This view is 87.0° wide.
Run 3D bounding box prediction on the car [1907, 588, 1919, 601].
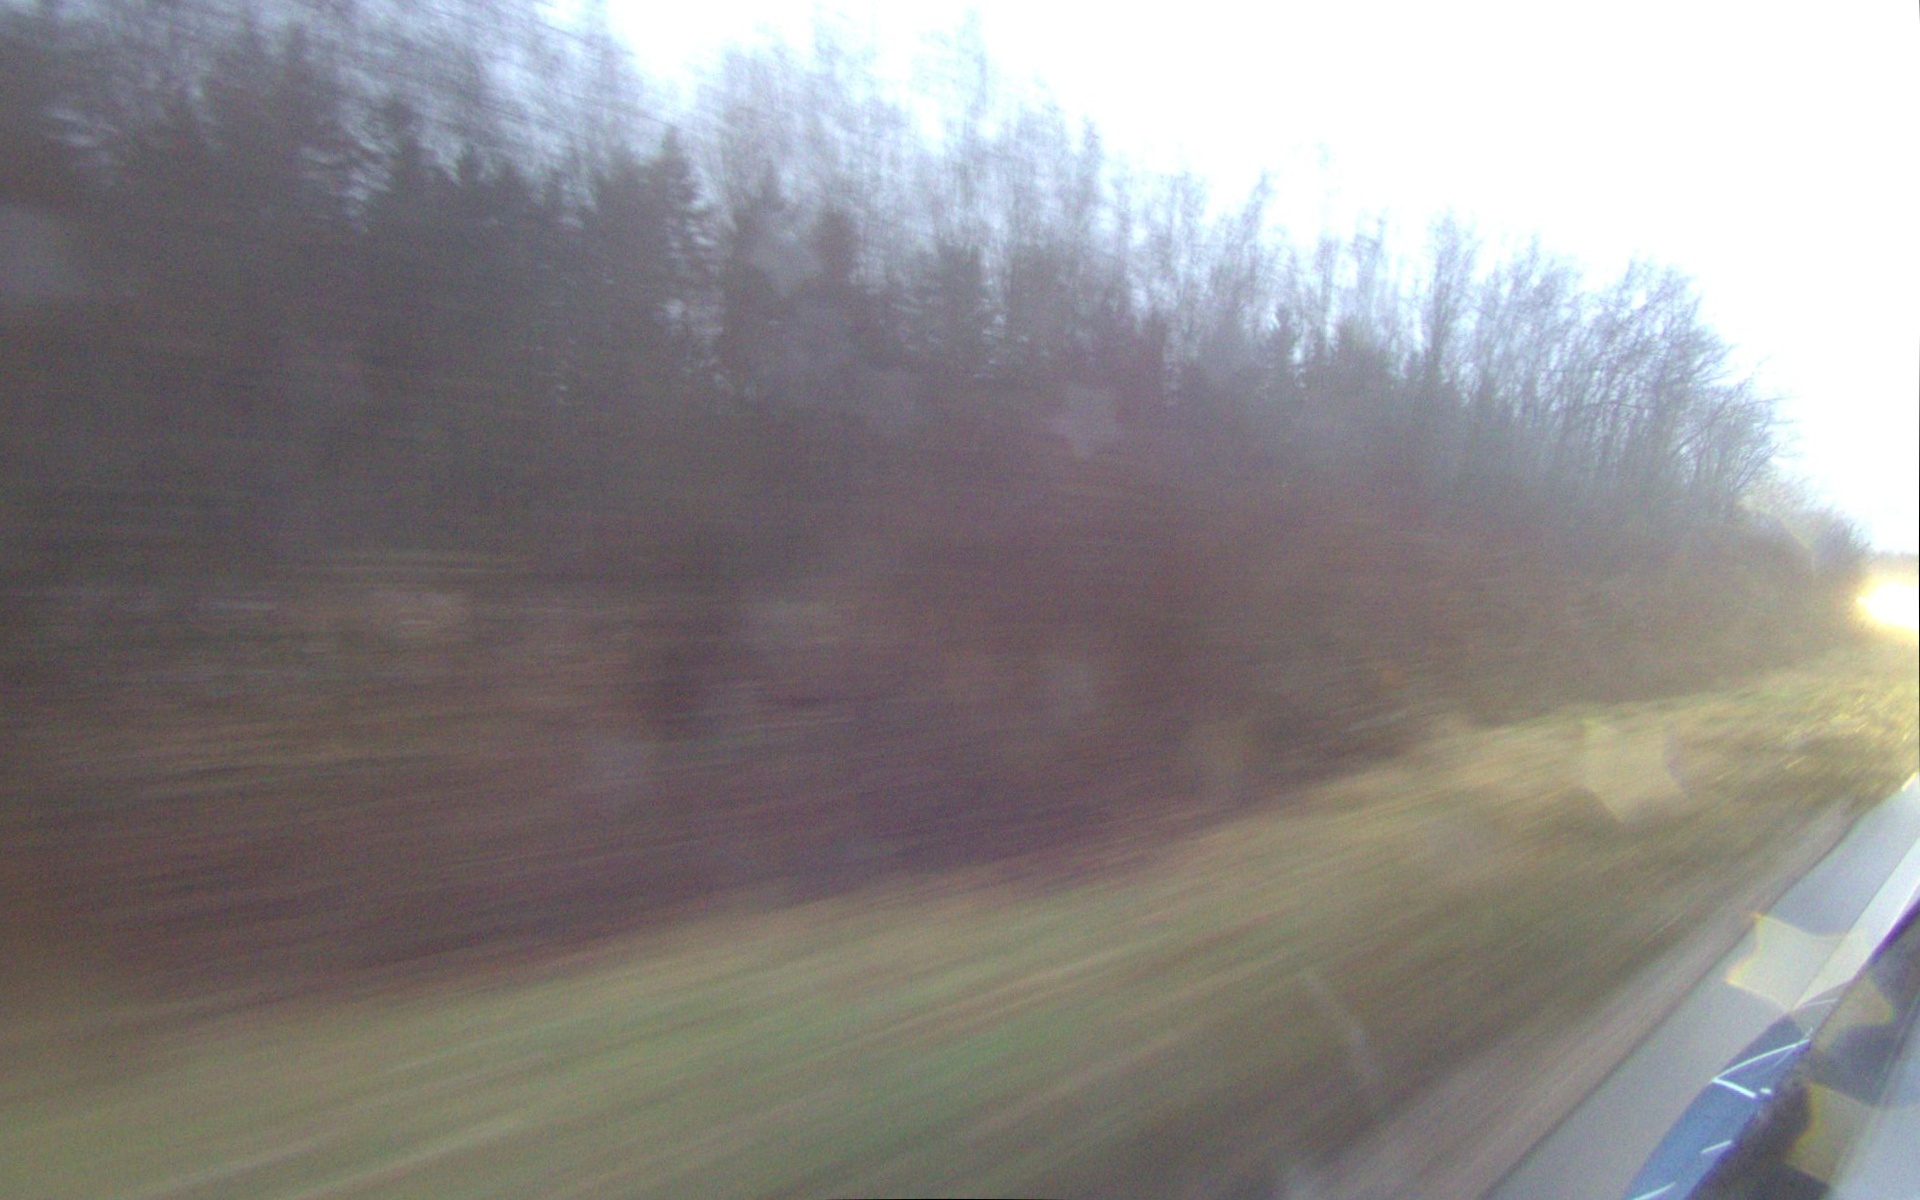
[{"bbox_3d":[113.491,-0.607,119.627,1.760,1.516,4.049,1,1,36],"label":"car"}]
